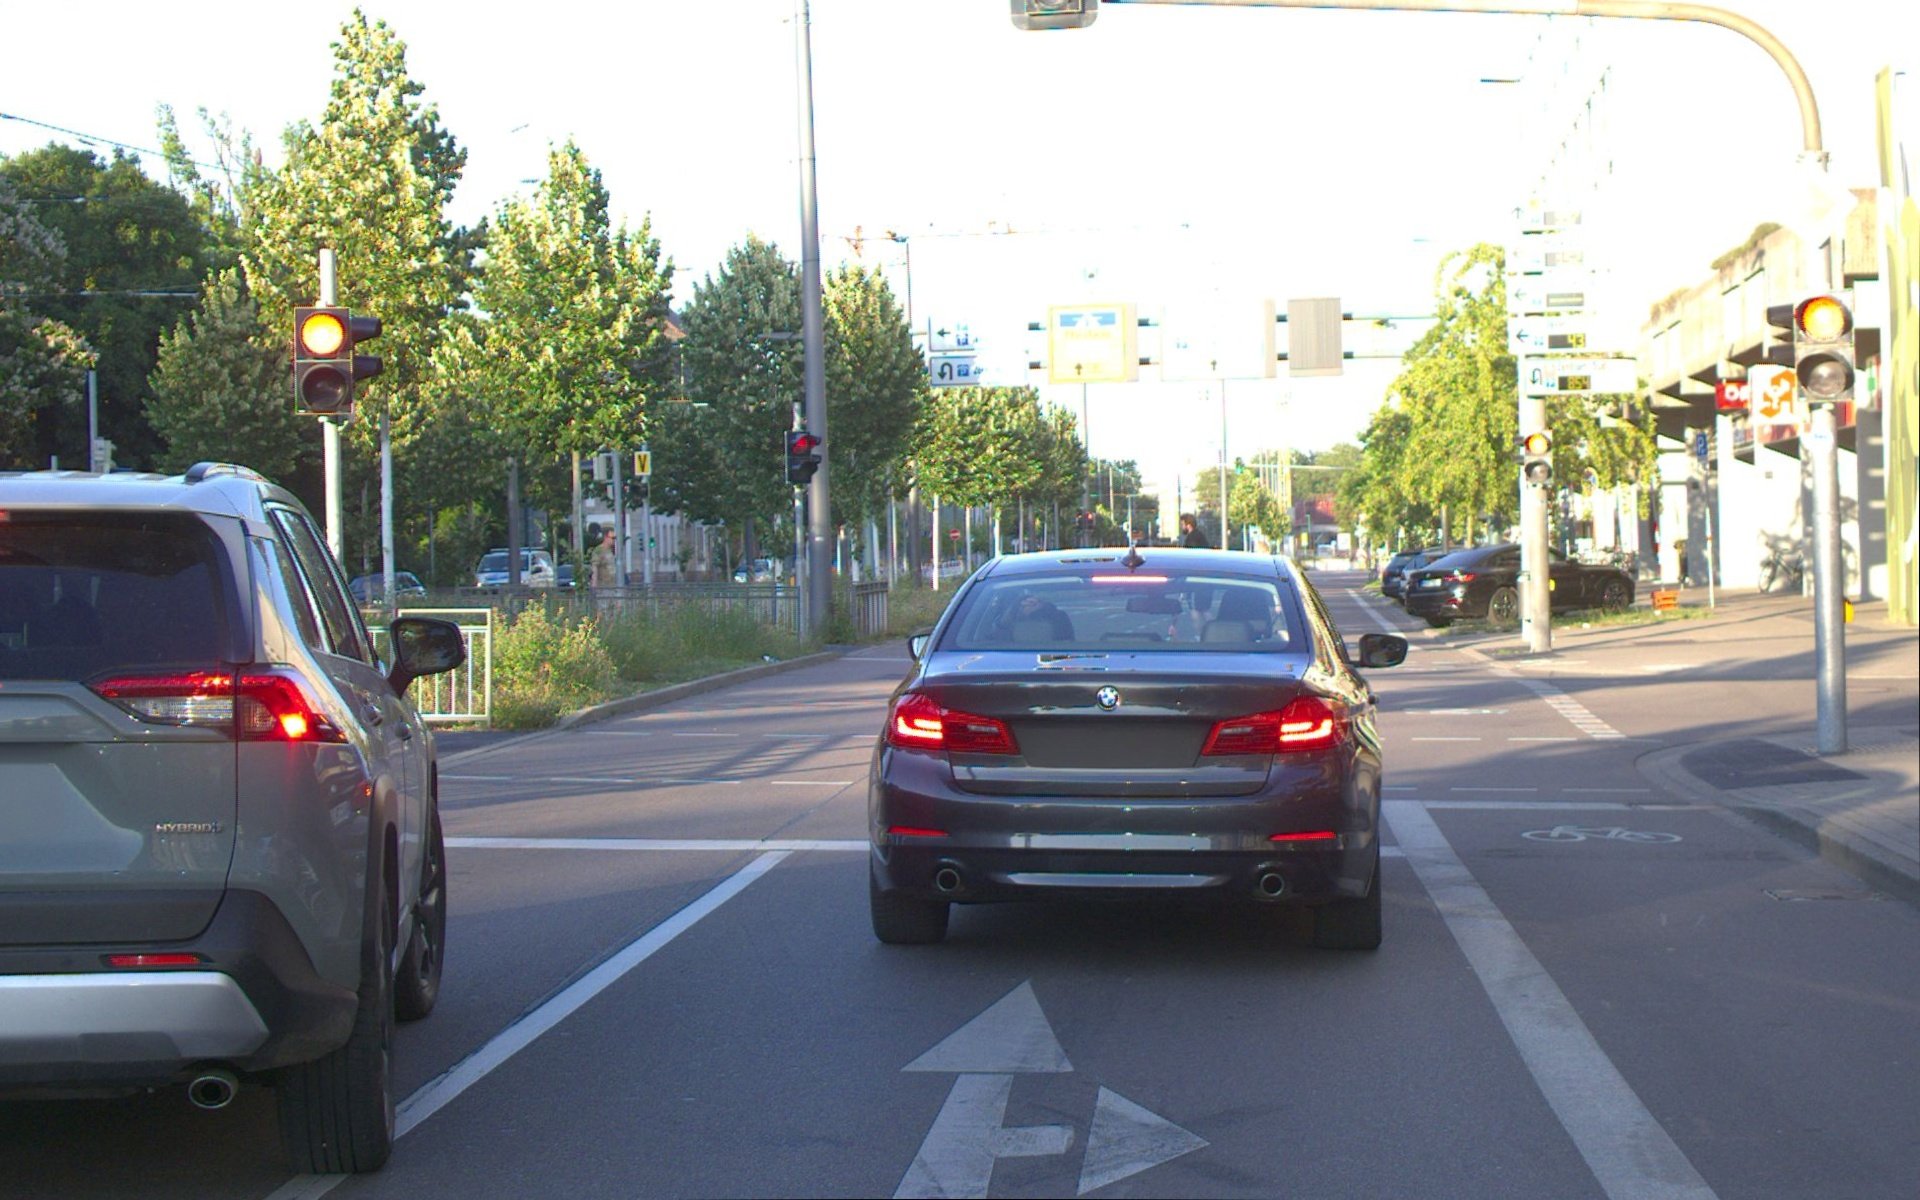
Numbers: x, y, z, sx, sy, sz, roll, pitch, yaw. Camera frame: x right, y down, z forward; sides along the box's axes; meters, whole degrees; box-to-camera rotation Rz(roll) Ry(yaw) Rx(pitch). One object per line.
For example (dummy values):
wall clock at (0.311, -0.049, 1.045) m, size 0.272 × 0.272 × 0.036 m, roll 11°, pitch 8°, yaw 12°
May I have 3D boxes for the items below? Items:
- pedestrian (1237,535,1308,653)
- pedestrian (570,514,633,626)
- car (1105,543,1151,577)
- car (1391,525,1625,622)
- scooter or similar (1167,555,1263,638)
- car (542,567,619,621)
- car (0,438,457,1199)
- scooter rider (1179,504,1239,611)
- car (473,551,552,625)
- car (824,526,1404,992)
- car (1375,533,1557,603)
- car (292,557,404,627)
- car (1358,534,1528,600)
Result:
pedestrian at (4.248, -0.086, 46.780) m, size 0.835 × 1.581 × 0.812 m, roll -1°, pitch 1°, yaw -1°
pedestrian at (-5.526, -0.464, 53.024) m, size 0.835 × 1.706 × 0.647 m, roll -1°, pitch 1°, yaw 3°
car at (7.546, -1.810, 153.948) m, size 1.979 × 1.428 × 4.842 m, roll 0°, pitch 2°, yaw 4°
car at (10.101, -0.515, 63.239) m, size 4.256 × 1.653 × 1.860 m, roll -2°, pitch 3°, yaw -38°
scooter or similar at (3.643, -0.055, 49.137) m, size 1.329 × 1.149 × 0.513 m, roll -1°, pitch 1°, yaw 4°
car at (-13.423, -0.231, 121.780) m, size 1.994 × 1.738 × 4.751 m, roll 0°, pitch 2°, yaw 2°
car at (-2.364, 0.423, 9.039) m, size 1.854 × 1.653 × 4.269 m, roll 0°, pitch 2°, yaw -6°
scooter rider at (3.559, -0.607, 49.153) m, size 0.820 × 1.509 × 0.653 m, roll -1°, pitch 1°, yaw 4°
car at (-14.163, -0.408, 109.024) m, size 1.993 × 2.160 × 4.751 m, roll 0°, pitch 2°, yaw -2°
car at (0.713, 0.478, 13.724) m, size 1.932 × 1.476 × 4.522 m, roll 0°, pitch 2°, yaw 5°
car at (12.589, -0.817, 85.489) m, size 4.254 × 1.653 × 1.861 m, roll -1°, pitch 2°, yaw -31°
car at (-16.590, -0.247, 93.407) m, size 1.994 × 1.738 × 4.751 m, roll 0°, pitch 2°, yaw 2°
car at (12.881, -0.890, 91.649) m, size 4.254 × 1.653 × 1.861 m, roll -1°, pitch 2°, yaw -31°
